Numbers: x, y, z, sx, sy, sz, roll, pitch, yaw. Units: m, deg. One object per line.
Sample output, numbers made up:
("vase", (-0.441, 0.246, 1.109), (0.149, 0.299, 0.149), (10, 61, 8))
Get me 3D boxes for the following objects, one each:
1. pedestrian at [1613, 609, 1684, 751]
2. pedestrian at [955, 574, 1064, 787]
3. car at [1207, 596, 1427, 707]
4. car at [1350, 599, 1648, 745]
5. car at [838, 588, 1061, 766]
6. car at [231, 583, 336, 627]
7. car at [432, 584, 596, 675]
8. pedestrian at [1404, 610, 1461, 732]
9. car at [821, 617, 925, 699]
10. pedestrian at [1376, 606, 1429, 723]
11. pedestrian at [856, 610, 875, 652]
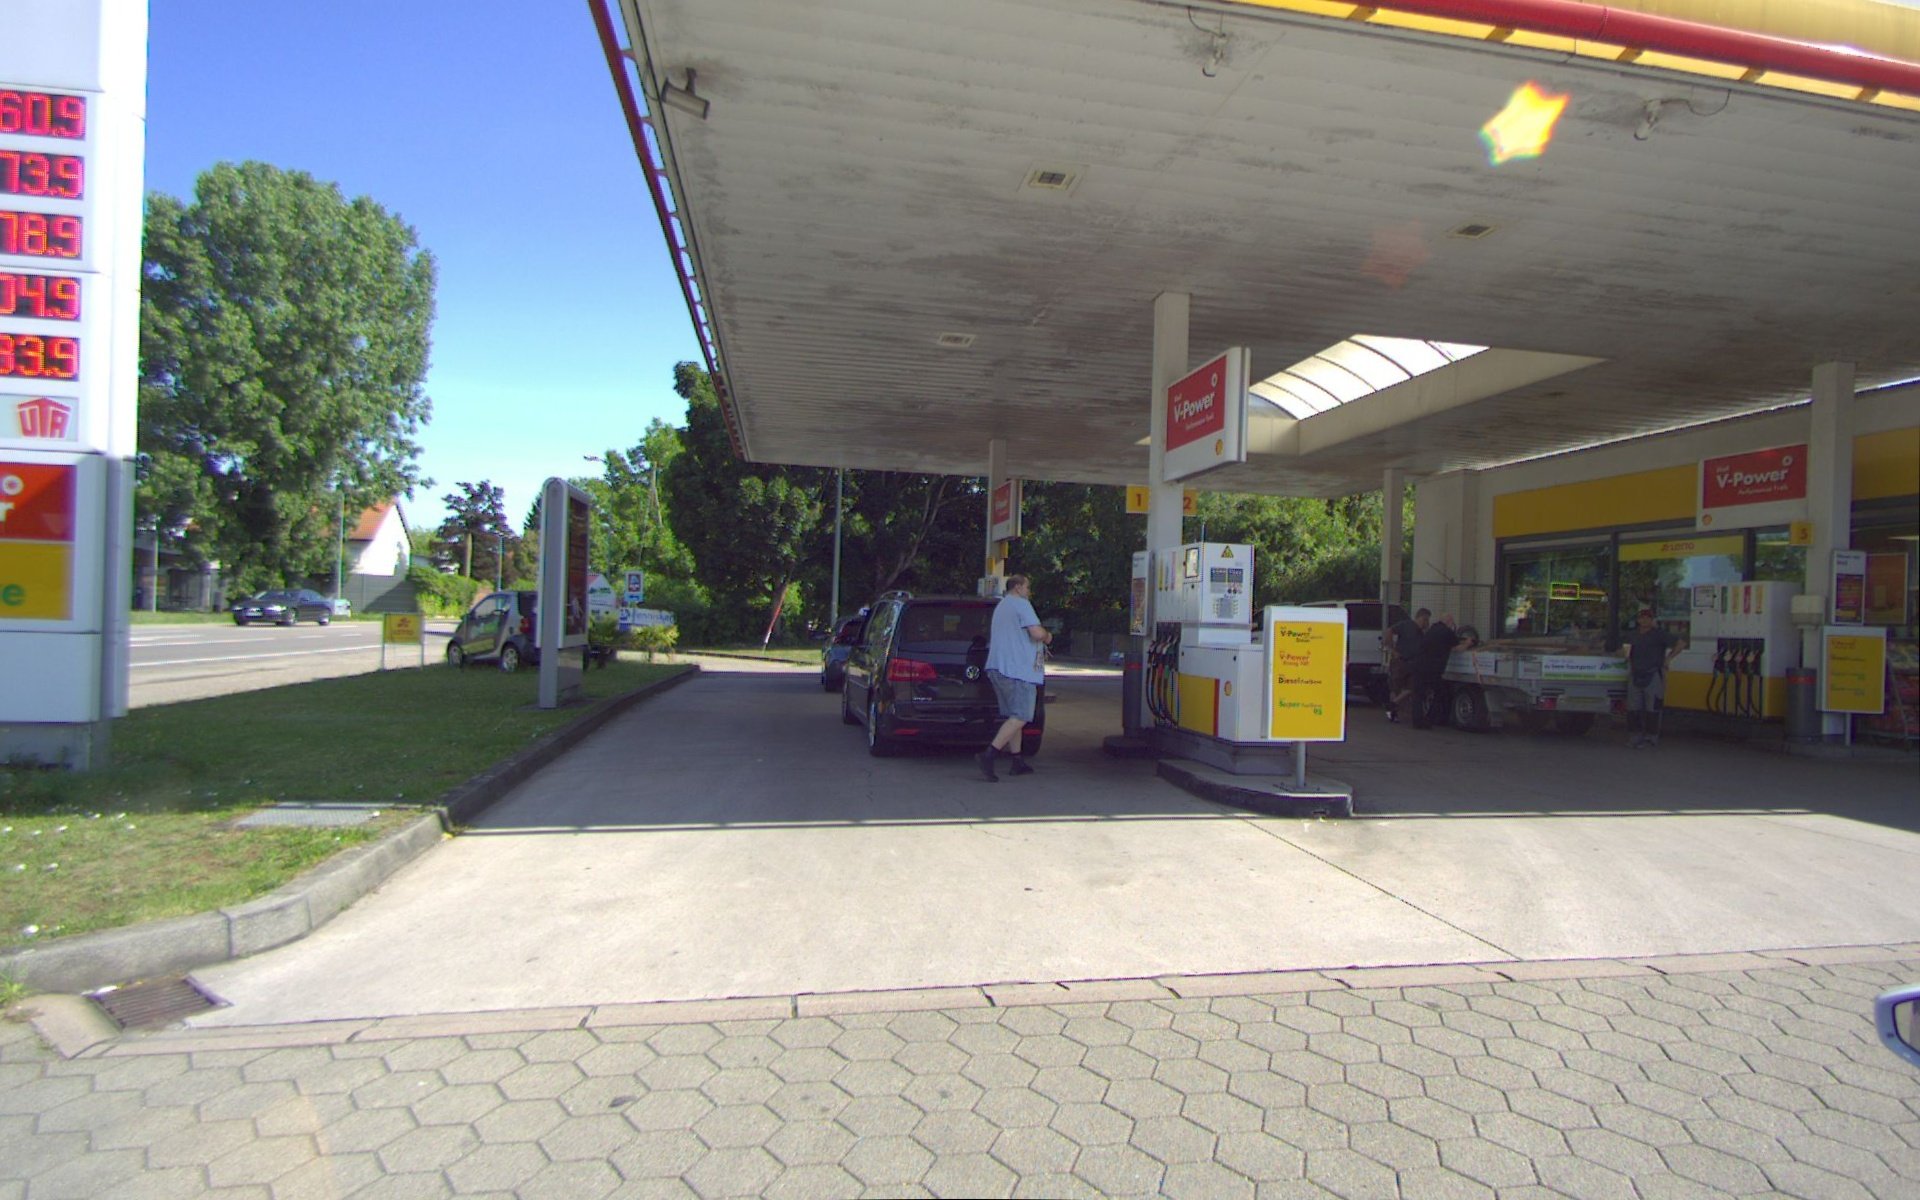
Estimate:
("pedestrian", (8.413, 0.965, 12.278), (0.467, 1.690, 0.500), (2, -1, -9))
("pedestrian", (0.444, 0.675, 8.765), (0.795, 1.752, 0.675), (2, -1, 12))
("car", (6.770, 0.926, 19.689), (1.825, 1.862, 4.770), (2, -1, -11))
("car", (7.450, 0.949, 14.404), (1.799, 1.750, 3.996), (2, -2, -6))
("car", (-0.304, 0.753, 11.178), (1.734, 1.599, 3.869), (2, -1, -12))
("car", (-25.971, 0.243, 38.743), (1.795, 1.477, 3.993), (4, -2, -10))
("car", (-8.409, 0.557, 18.926), (2.685, 1.550, 1.574), (1, -3, 34))
("pedestrian", (6.435, 0.956, 13.686), (0.491, 1.614, 0.475), (2, -1, -7))
("car", (-1.753, 1.052, 19.419), (1.770, 1.378, 3.844), (2, -1, -7))
("pedestrian", (6.413, 0.927, 14.582), (0.491, 1.653, 0.475), (2, -1, -7))
("pedestrian", (-3.548, 1.152, 37.652), (0.665, 1.557, 0.393), (2, -1, -6))
